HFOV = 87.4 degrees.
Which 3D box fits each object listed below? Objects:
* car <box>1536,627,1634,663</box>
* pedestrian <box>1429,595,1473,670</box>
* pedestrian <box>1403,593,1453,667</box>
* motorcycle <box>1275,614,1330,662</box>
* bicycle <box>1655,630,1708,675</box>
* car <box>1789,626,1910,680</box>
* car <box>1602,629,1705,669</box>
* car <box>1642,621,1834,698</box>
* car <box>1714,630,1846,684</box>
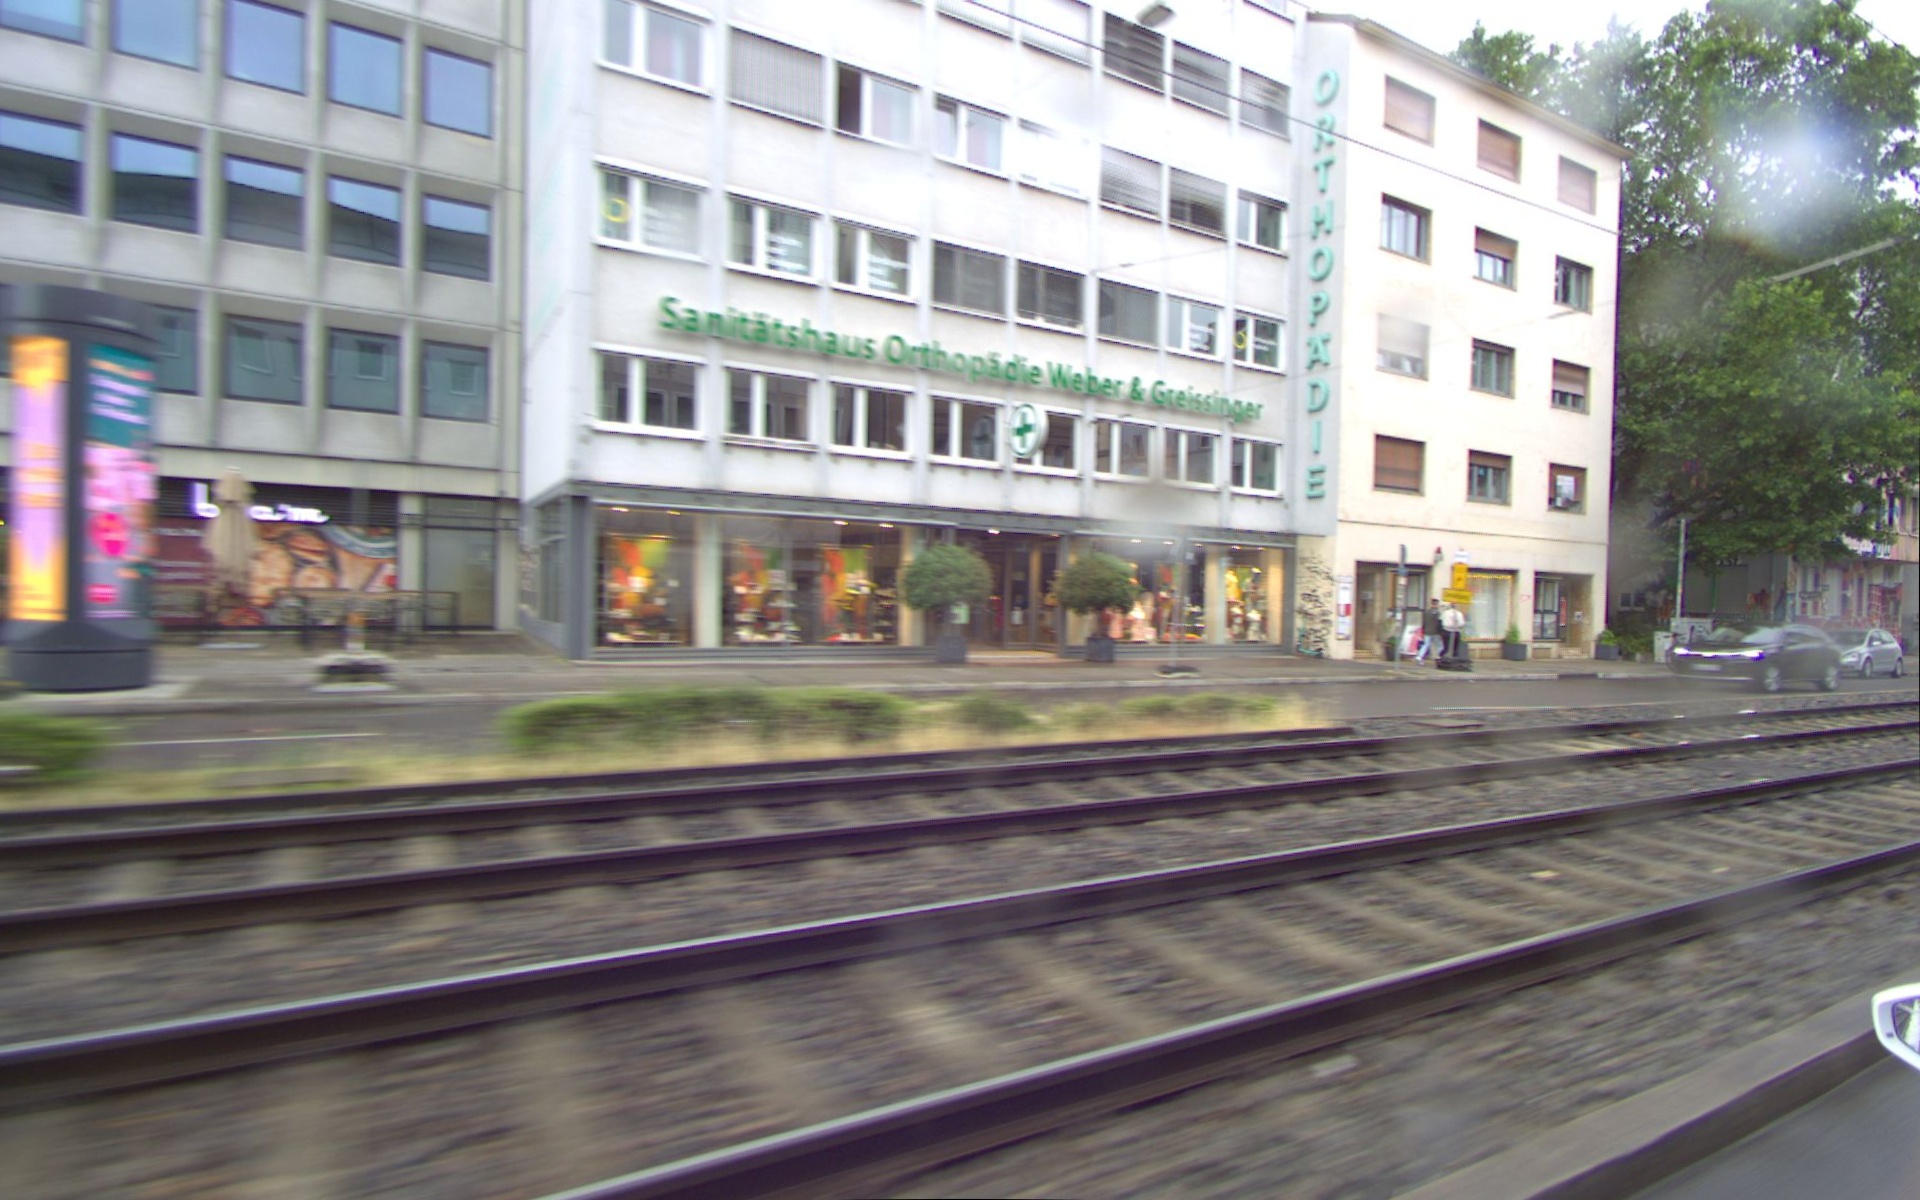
[{"bbox_3d":[26.497,1.890,42.553,3.955,1.383,1.983,2,0,-31],"label":"car"},{"bbox_3d":[12.779,0.844,26.161,0.734,1.921,0.675,2,0,-30],"label":"pedestrian"},{"bbox_3d":[12.528,0.806,26.907,0.971,1.921,0.723,2,0,-30],"label":"pedestrian"},{"bbox_3d":[9.194,1.003,27.000,0.381,1.195,1.469,2,0,-31],"label":"motorcycle"},{"bbox_3d":[21.418,1.562,29.816,2.382,1.243,0.586,3,0,-38],"label":"bicycle"},{"bbox_3d":[28.759,1.704,32.442,4.171,1.591,1.713,2,0,-31],"label":"car"},{"bbox_3d":[27.884,1.945,40.345,3.955,1.474,1.983,2,-1,-31],"label":"car"},{"bbox_3d":[17.867,1.323,23.024,4.393,1.539,1.983,2,0,-31],"label":"car"},{"bbox_3d":[24.522,1.686,30.004,4.171,1.488,1.735,2,-1,-31],"label":"car"}]
